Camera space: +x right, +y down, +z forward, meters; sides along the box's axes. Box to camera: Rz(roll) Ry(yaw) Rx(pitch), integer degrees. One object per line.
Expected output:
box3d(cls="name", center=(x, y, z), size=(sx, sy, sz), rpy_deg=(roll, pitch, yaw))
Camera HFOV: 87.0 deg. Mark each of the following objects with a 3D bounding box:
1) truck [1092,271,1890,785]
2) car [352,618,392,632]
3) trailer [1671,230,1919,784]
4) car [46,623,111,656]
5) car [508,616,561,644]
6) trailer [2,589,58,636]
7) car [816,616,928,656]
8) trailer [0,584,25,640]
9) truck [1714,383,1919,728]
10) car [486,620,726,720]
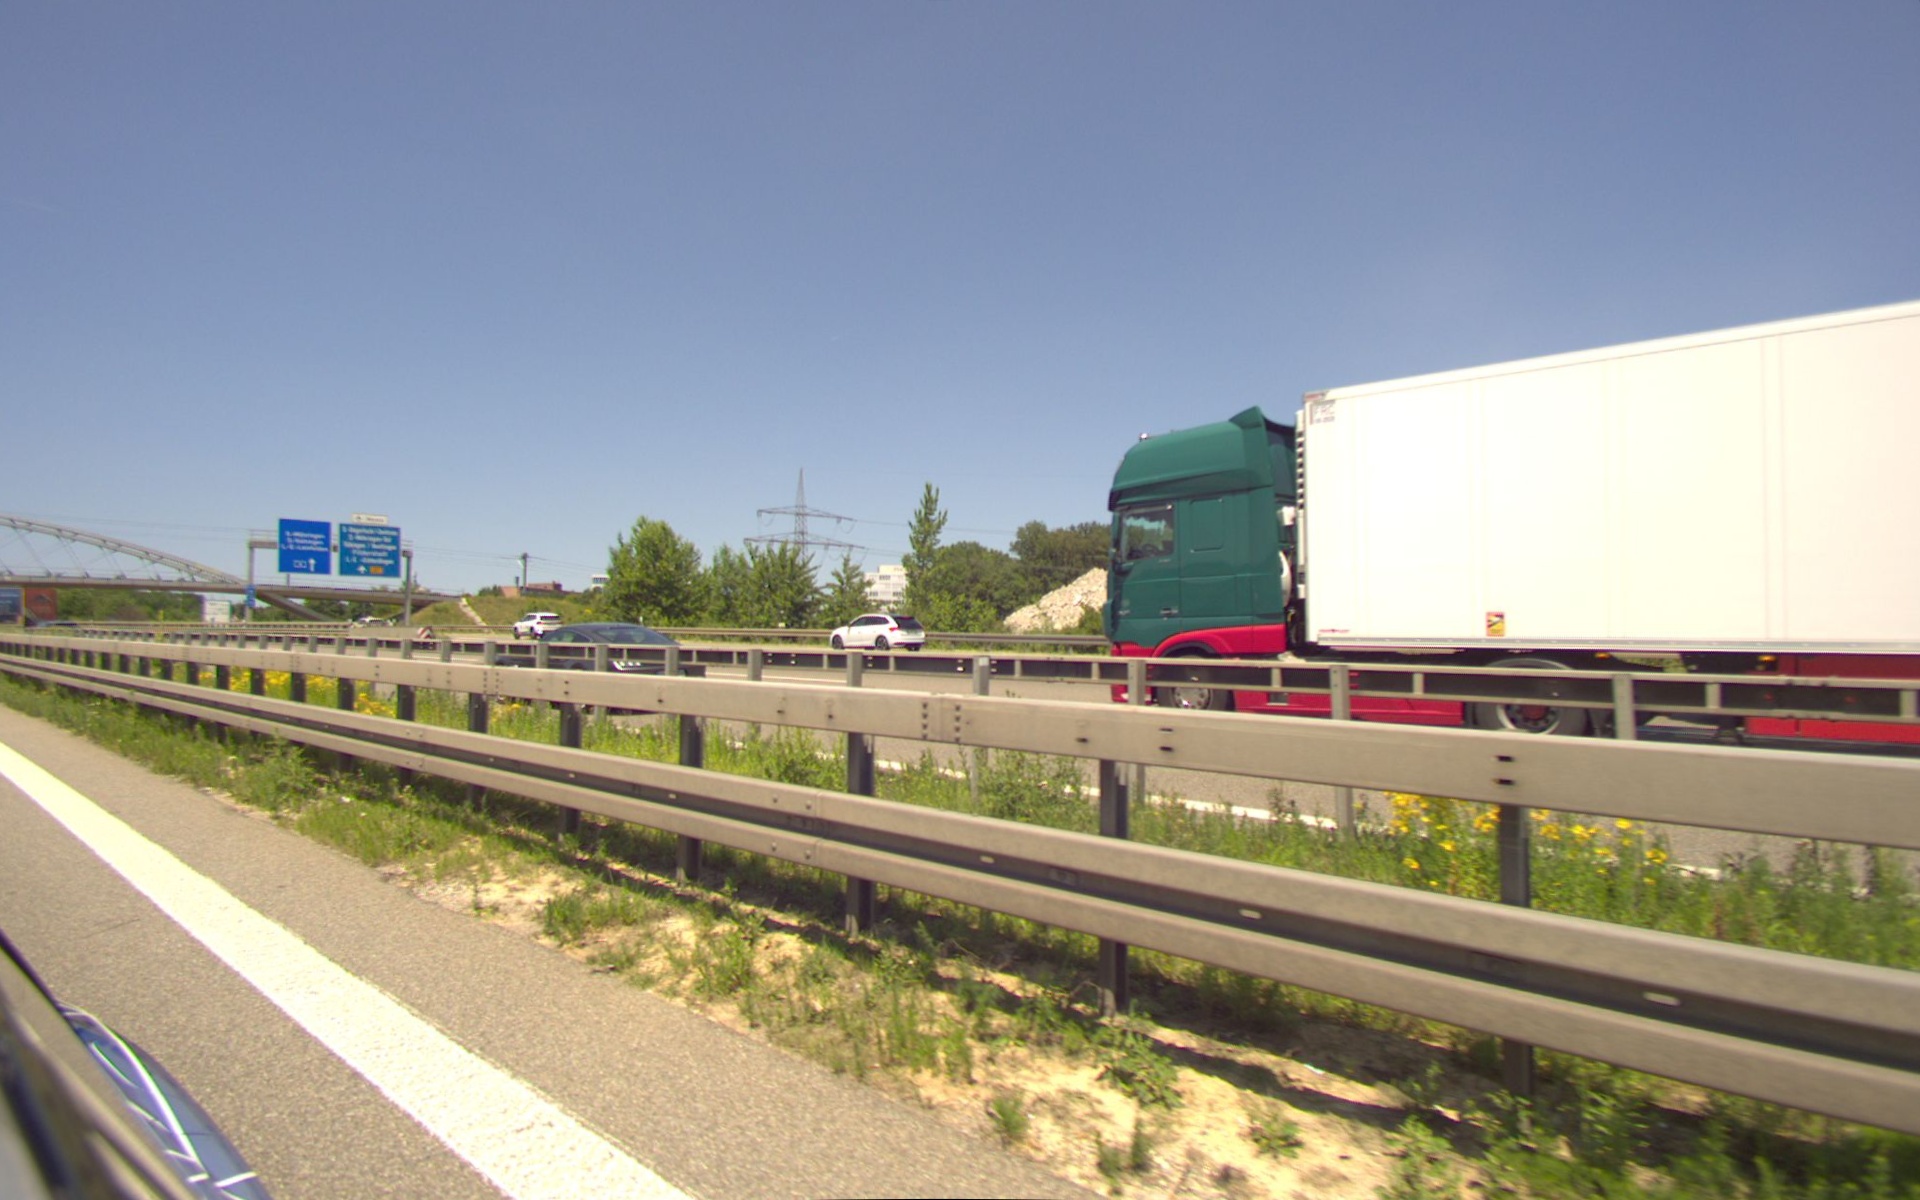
box3d(cls="truck", center=(5.540, -0.551, 11.771), size=(7.593, 4.151, 2.936), rpy_deg=(-1, -1, 41))
box3d(cls="car", center=(-51.229, 2.178, 88.087), size=(4.399, 1.212, 1.661), rpy_deg=(-1, -1, 40))
box3d(cls="trailer", center=(11.414, -0.781, 6.701), size=(10.726, 4.405, 2.925), rpy_deg=(-1, -1, 41))
box3d(cls="car", center=(-41.994, 1.860, 48.169), size=(4.701, 1.475, 1.661), rpy_deg=(-1, -1, 40))
box3d(cls="car", center=(-26.406, 1.847, 62.722), size=(1.657, 1.625, 4.407), rpy_deg=(0, -1, -42))
box3d(cls="trailer", center=(-85.143, 1.150, 92.618), size=(8.705, 4.136, 2.534), rpy_deg=(-1, -1, 39))
box3d(cls="car", center=(-3.358, 1.321, 37.930), size=(1.500, 1.412, 4.801), rpy_deg=(0, -1, -44))
box3d(cls="trailer", center=(-79.915, 1.009, 82.945), size=(14.607, 4.375, 2.916), rpy_deg=(-1, -1, 40))
box3d(cls="truck", center=(15.139, -0.571, 9.347), size=(12.893, 3.814, 3.186), rpy_deg=(-1, -1, 41))
box3d(cls="car", center=(-5.842, 1.040, 16.450), size=(4.288, 1.401, 1.786), rpy_deg=(-1, -1, 41))
